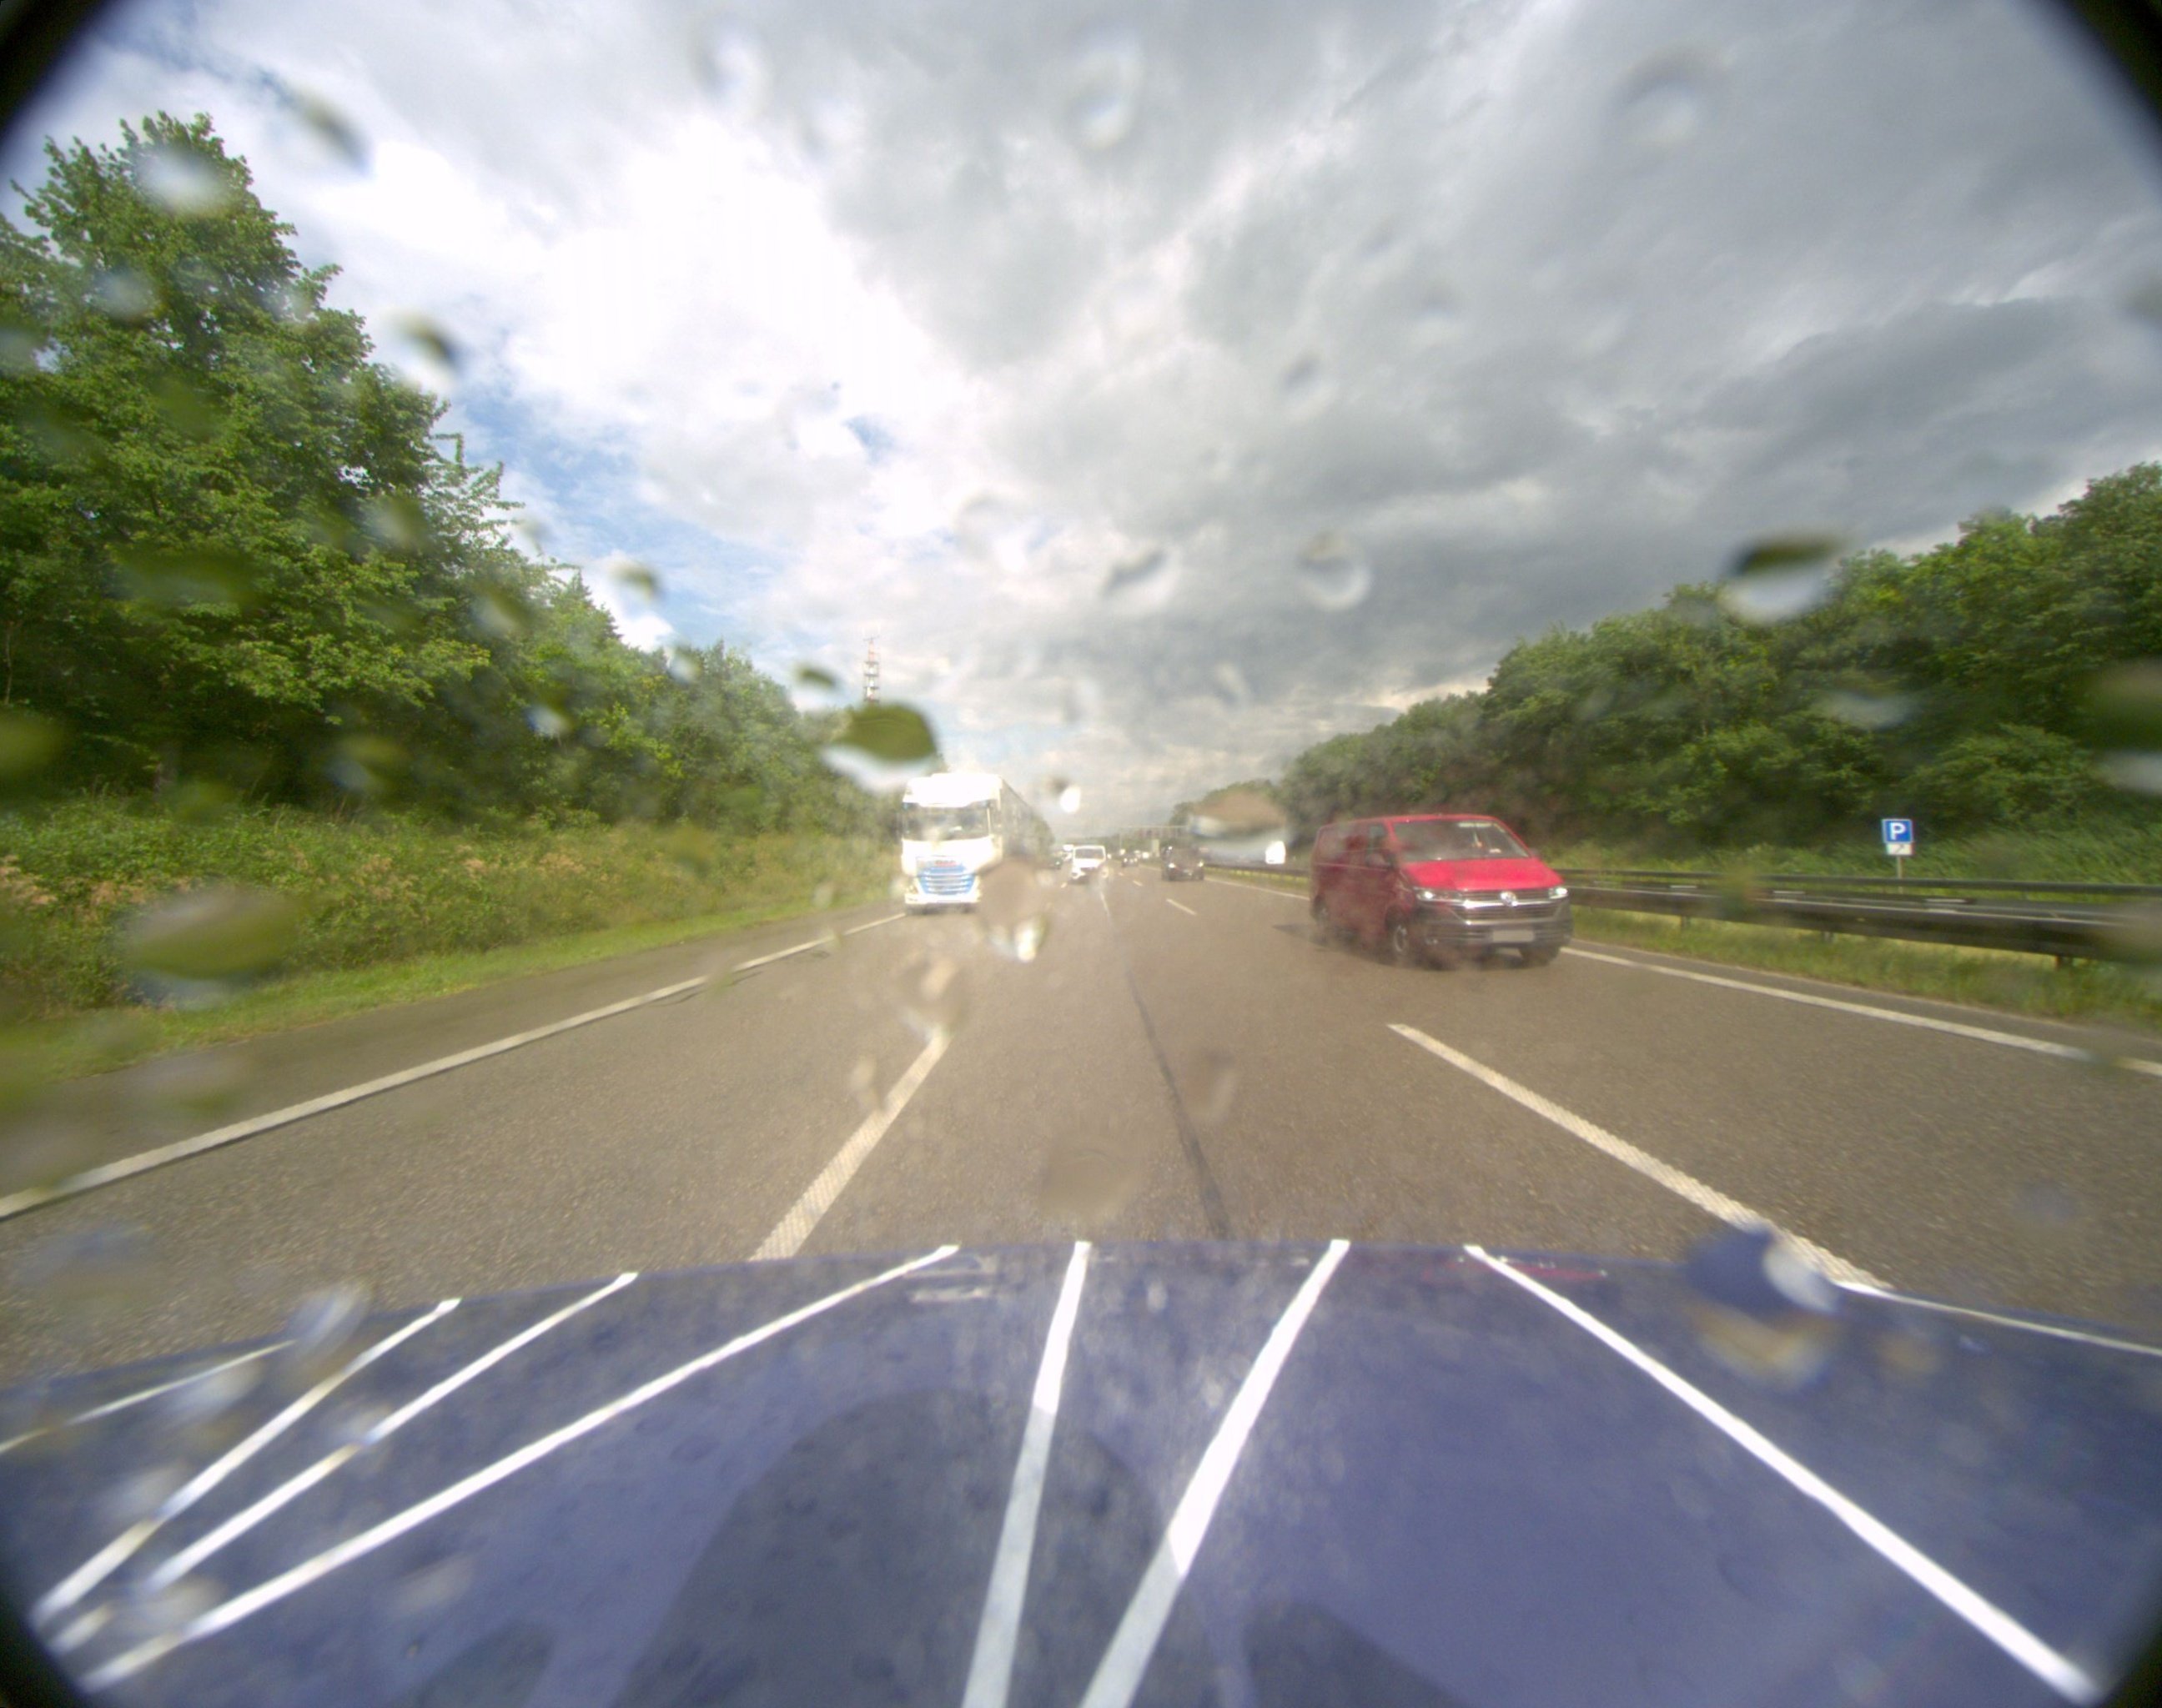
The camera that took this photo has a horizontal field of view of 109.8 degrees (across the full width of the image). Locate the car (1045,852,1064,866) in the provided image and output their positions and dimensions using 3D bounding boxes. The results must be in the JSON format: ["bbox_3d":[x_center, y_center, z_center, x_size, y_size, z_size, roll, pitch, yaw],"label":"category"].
[{"bbox_3d":[-2.868,0.504,83.422,1.799,1.410,4.838,-2,1,0],"label":"car"}]

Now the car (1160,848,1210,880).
[{"bbox_3d":[5.519,0.489,40.874,2.009,1.488,4.838,-2,1,0],"label":"car"}]

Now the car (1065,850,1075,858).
[{"bbox_3d":[-2.169,-0.023,146.698,1.799,1.410,4.838,-2,1,0],"label":"car"}]

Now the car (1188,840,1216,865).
[{"bbox_3d":[14.600,-0.195,92.280,2.268,2.853,6.889,-2,1,0],"label":"car"}]

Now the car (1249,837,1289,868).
[{"bbox_3d":[18.710,-0.143,75.848,2.268,2.853,6.788,-2,1,0],"label":"car"}]

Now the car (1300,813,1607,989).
[{"bbox_3d":[4.761,0.494,10.703,1.927,1.855,4.838,-2,1,0],"label":"car"}]

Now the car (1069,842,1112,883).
[{"bbox_3d":[0.524,0.408,41.782,2.124,1.988,5.982,-2,1,0],"label":"car"}]

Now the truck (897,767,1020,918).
[{"bbox_3d":[-3.571,-0.331,24.055,2.613,3.972,7.289,-2,1,0],"label":"truck"}]

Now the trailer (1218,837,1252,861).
[{"bbox_3d":[26.711,-0.938,132.933,2.997,3.809,17.952,-3,1,2],"label":"trailer"}]

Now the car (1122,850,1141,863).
[{"bbox_3d":[5.606,0.259,84.821,1.799,1.410,4.838,-2,1,0],"label":"car"}]

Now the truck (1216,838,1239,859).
[{"bbox_3d":[27.052,-1.024,140.799,2.997,3.809,6.864,-3,1,2],"label":"truck"}]

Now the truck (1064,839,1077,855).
[{"bbox_3d":[-2.556,-1.682,191.198,3.064,3.827,8.799,-1,0,-1],"label":"truck"}]

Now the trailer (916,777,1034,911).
[{"bbox_3d":[-3.626,-0.358,29.993,2.641,3.972,14.062,-2,1,0],"label":"trailer"}]

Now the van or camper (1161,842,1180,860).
[{"bbox_3d":[14.973,-0.459,127.161,2.268,2.853,6.838,-2,1,0],"label":"van or camper"}]

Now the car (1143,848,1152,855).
[{"bbox_3d":[18.263,-0.751,209.863,1.873,1.935,5.040,-2,1,-1],"label":"car"}]
